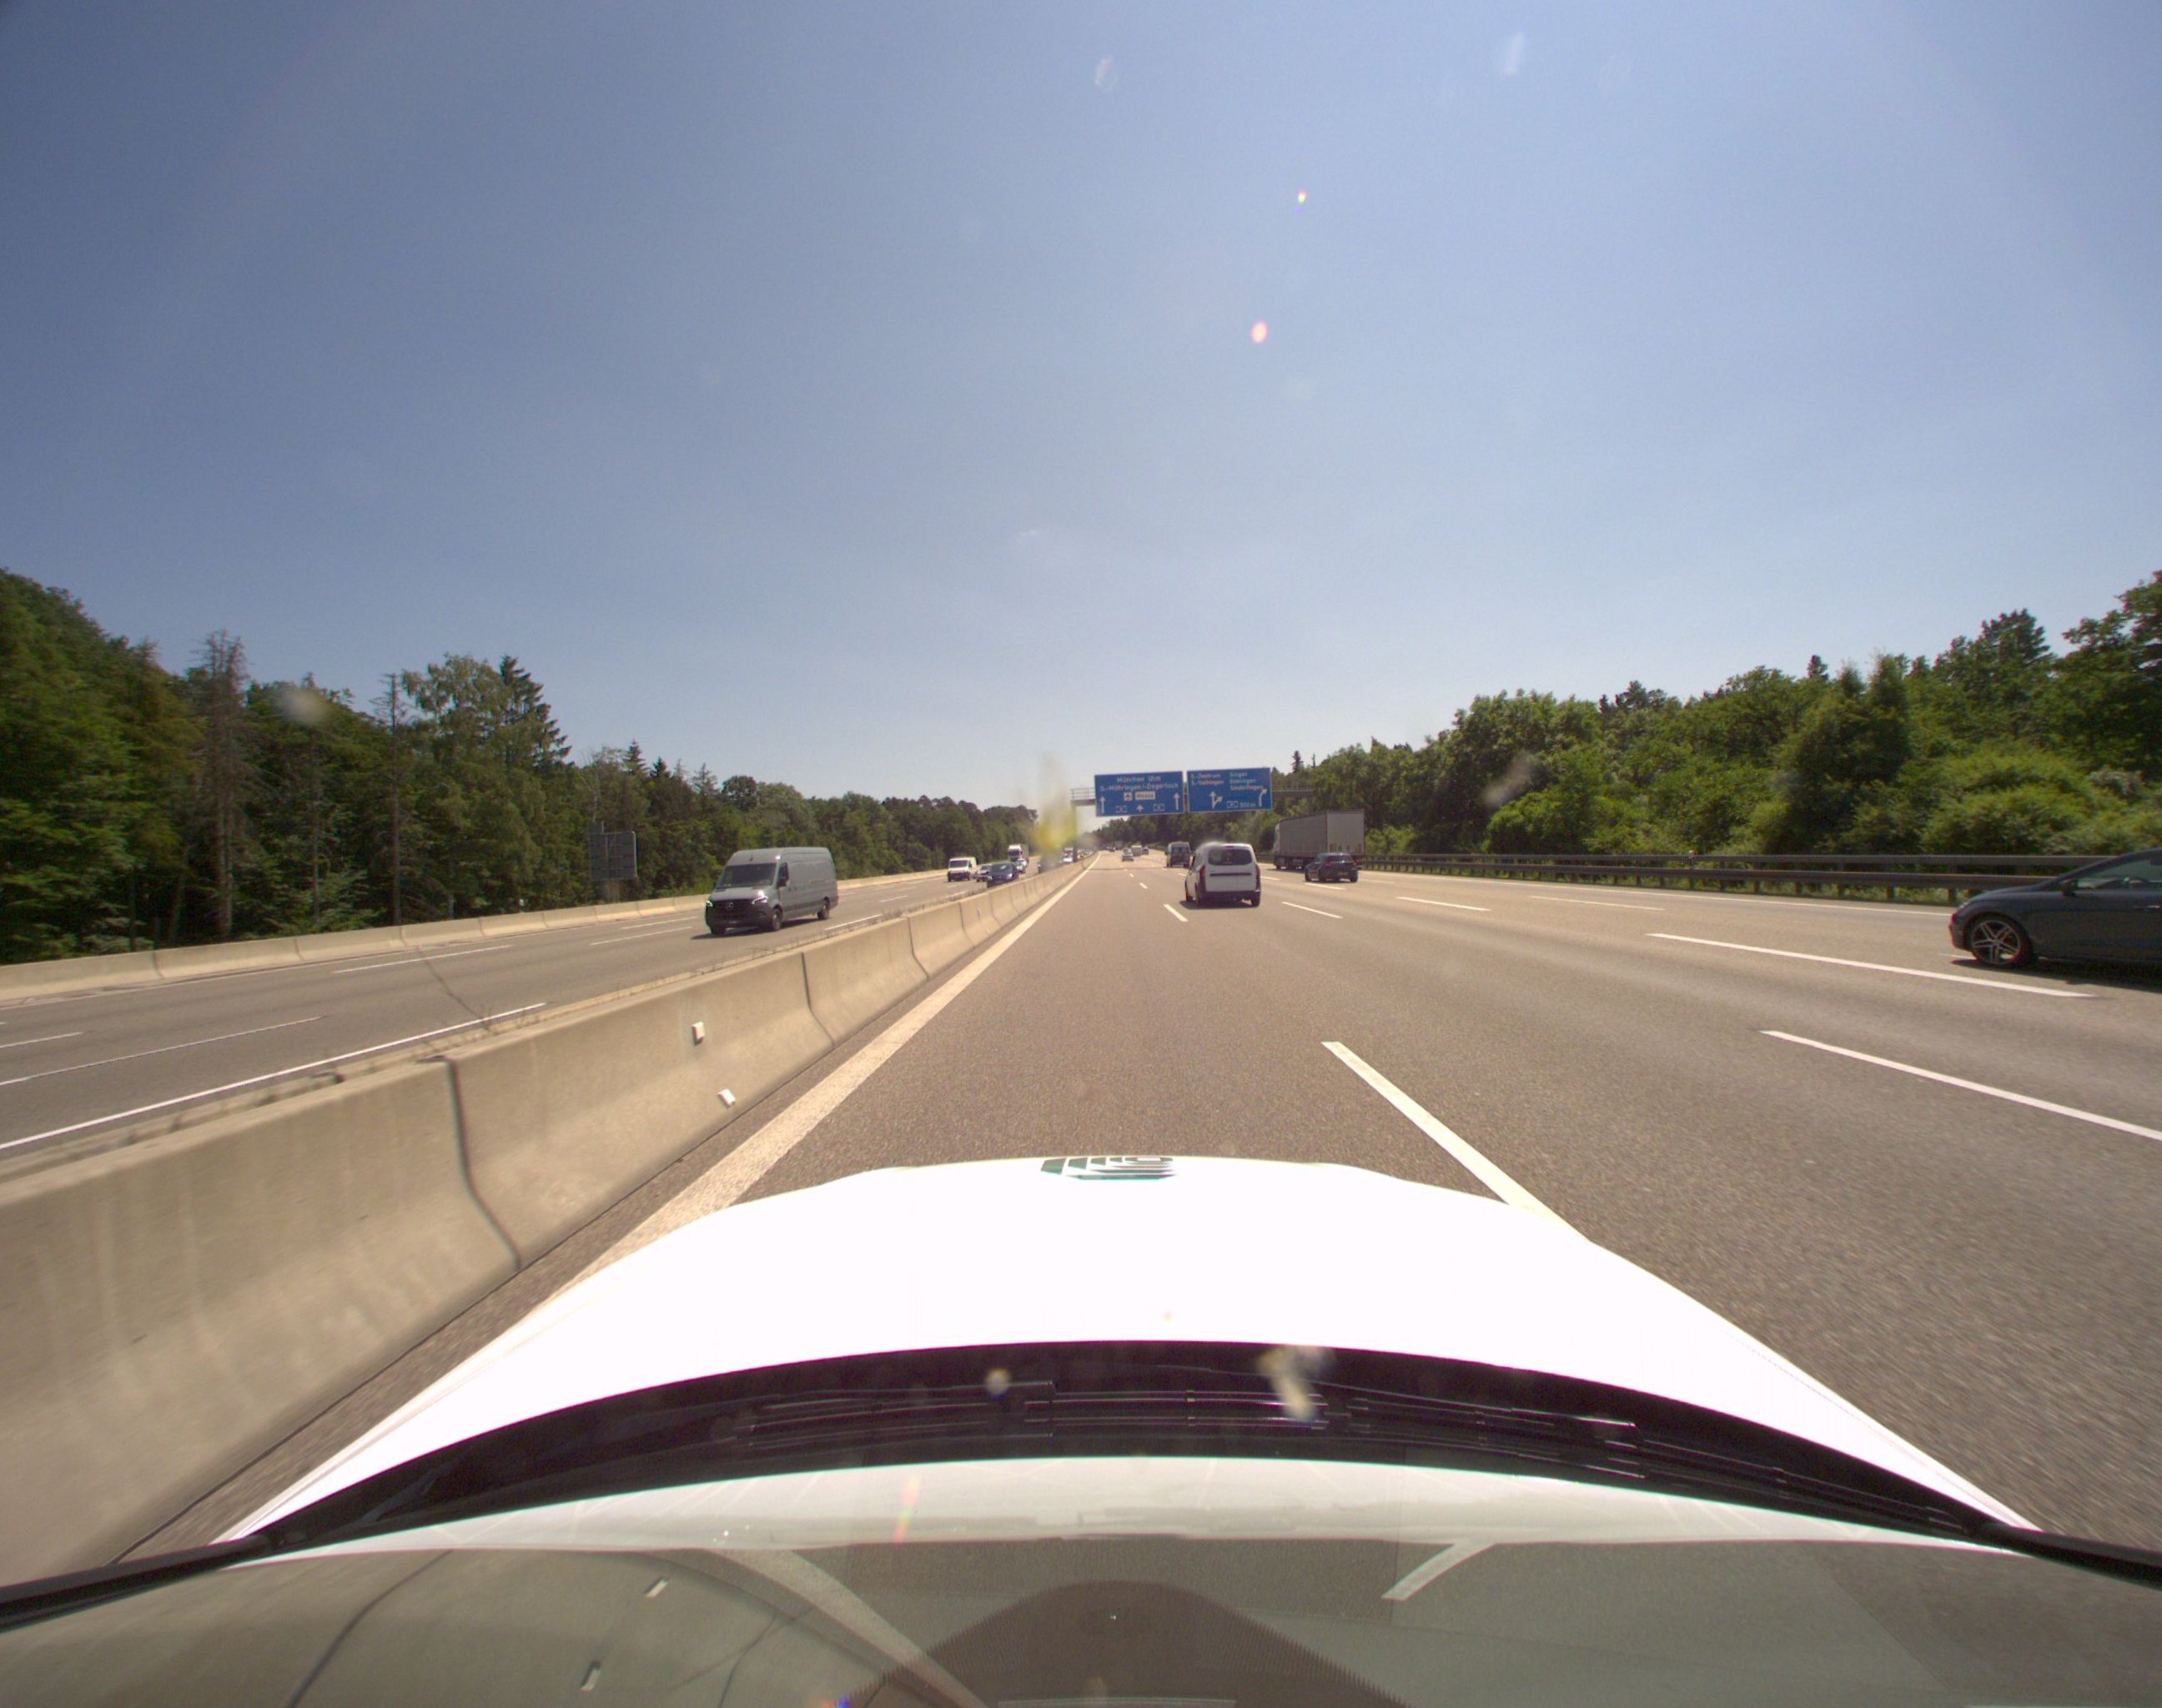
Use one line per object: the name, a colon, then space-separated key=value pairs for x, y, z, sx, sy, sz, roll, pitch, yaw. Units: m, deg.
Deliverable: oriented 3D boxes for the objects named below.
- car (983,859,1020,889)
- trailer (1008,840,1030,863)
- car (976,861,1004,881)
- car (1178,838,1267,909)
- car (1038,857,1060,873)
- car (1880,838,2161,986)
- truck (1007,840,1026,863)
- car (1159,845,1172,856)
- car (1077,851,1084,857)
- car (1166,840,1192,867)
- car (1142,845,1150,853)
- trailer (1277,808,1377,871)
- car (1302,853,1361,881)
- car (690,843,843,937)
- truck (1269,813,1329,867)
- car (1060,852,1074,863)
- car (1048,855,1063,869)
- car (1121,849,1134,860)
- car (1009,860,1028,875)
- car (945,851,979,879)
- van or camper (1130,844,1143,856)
car: x=-4.810 y=1.210 z=49.934 sx=1.698 sy=1.662 sz=3.761 roll=-3 pitch=0 yaw=2
trailer: x=-12.382 y=-0.429 z=164.357 sx=2.744 sy=4.246 sz=13.724 roll=-3 pitch=-1 yaw=2
car: x=-7.819 y=1.440 z=70.251 sx=1.672 sy=1.444 sz=4.528 roll=-4 pitch=0 yaw=2
car: x=4.167 y=0.561 z=24.686 sx=1.853 sy=1.826 sz=4.612 roll=-4 pitch=-1 yaw=0
car: x=-3.462 y=1.184 z=88.774 sx=1.863 sy=1.606 sz=5.231 roll=-4 pitch=0 yaw=2
car: x=11.321 y=0.552 z=8.431 sx=1.637 sy=1.438 sz=4.637 roll=-1 pitch=0 yaw=1
truck: x=-12.567 y=-0.400 z=159.319 sx=2.750 sy=4.220 sz=6.380 roll=-3 pitch=-1 yaw=2
car: x=13.633 y=-0.535 z=131.665 sx=1.811 sy=1.640 sz=4.002 roll=-3 pitch=0 yaw=2
car: x=-0.122 y=-0.014 z=214.487 sx=1.718 sy=1.537 sz=5.054 roll=-3 pitch=0 yaw=-1
car: x=10.098 y=-0.071 z=84.472 sx=2.135 sy=2.652 sz=5.712 roll=-3 pitch=0 yaw=2
car: x=17.262 y=-1.319 z=217.481 sx=1.813 sy=1.859 sz=4.002 roll=-3 pitch=0 yaw=2
trailer: x=17.228 y=-0.985 z=58.464 sx=3.276 sy=3.930 sz=13.894 roll=-1 pitch=0 yaw=1
car: x=11.978 y=0.664 z=39.227 sx=1.664 sy=1.274 sz=4.291 roll=0 pitch=-2 yaw=2
car: x=-10.071 y=1.010 z=26.970 sx=1.923 sy=2.607 sz=7.233 roll=-3 pitch=0 yaw=2
truck: x=17.342 y=-1.082 z=65.231 sx=3.242 sy=4.106 sz=5.990 roll=-1 pitch=0 yaw=2
car: x=-2.245 y=0.531 z=131.021 sx=1.805 sy=1.673 sz=4.478 roll=-3 pitch=0 yaw=2
car: x=-3.376 y=1.024 z=109.421 sx=1.748 sy=1.673 sz=4.203 roll=-3 pitch=0 yaw=0
car: x=7.473 y=0.141 z=131.880 sx=1.836 sy=1.629 sz=4.555 roll=-3 pitch=-1 yaw=2
car: x=-6.959 y=1.448 z=90.789 sx=1.543 sy=1.455 sz=3.841 roll=-5 pitch=0 yaw=2
car: x=-11.326 y=1.047 z=78.177 sx=1.923 sy=2.413 sz=6.628 roll=-5 pitch=-1 yaw=2
van or camper: x=13.308 y=-0.901 z=194.996 sx=2.635 sy=2.539 sz=6.504 roll=-3 pitch=-1 yaw=2
